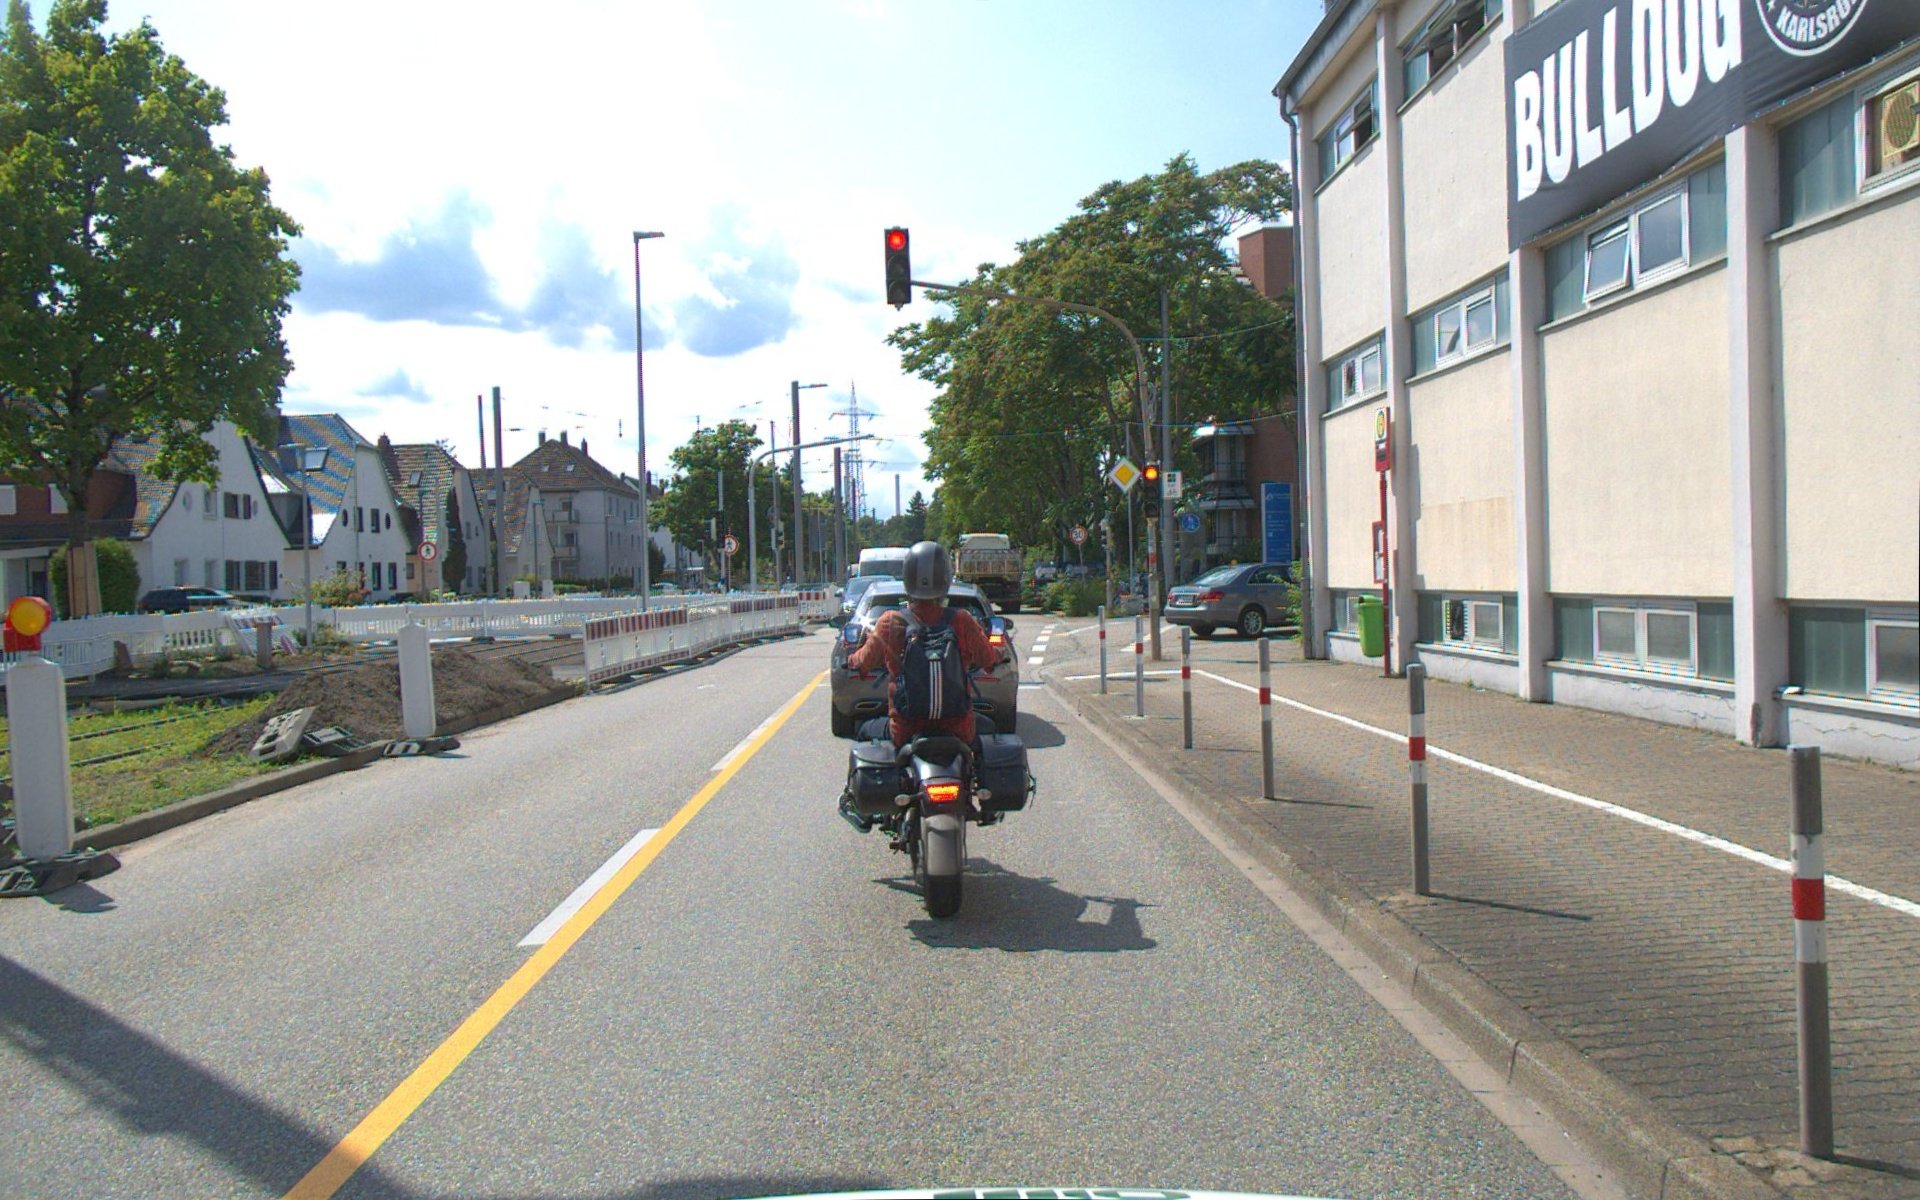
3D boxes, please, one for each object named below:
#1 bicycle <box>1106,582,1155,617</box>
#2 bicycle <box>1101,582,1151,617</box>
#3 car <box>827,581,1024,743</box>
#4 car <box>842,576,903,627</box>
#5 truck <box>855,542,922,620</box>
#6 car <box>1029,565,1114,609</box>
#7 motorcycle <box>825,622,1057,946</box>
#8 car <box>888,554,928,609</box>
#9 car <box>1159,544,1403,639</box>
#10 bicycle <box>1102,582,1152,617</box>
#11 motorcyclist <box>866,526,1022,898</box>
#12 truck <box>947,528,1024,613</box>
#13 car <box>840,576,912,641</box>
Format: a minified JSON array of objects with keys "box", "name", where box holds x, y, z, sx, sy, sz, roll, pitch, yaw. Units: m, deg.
[{"box":[5.849,-0.018,56.821,1.672,1.192,0.438,0,0,4],"name":"bicycle"},{"box":[5.631,-0.016,56.063,1.672,1.192,0.438,0,0,4],"name":"bicycle"},{"box":[-0.463,0.531,16.790,1.698,1.428,4.082,0,1,-5],"name":"car"},{"box":[-2.671,0.037,51.258,1.709,1.462,4.082,-3,0,-1],"name":"car"},{"box":[-2.482,-0.724,58.743,2.050,2.519,5.196,-3,2,0],"name":"truck"},{"box":[5.130,-0.582,75.666,1.772,1.959,3.973,0,0,44],"name":"car"},{"box":[-0.096,0.753,7.845,0.923,1.221,2.472,0,1,-1],"name":"motorcycle"},{"box":[-2.102,-0.753,67.849,1.556,2.180,3.626,0,0,0],"name":"car"},{"box":[6.667,-0.216,34.391,4.631,1.742,1.898,-3,2,-18],"name":"car"},{"box":[5.603,-0.014,55.562,1.672,1.192,0.438,0,0,4],"name":"bicycle"},{"box":[-0.076,0.491,7.613,0.684,1.632,0.692,0,0,-1],"name":"motorcyclist"},{"box":[1.080,-1.152,66.845,2.906,3.228,7.765,0,0,1],"name":"truck"},{"box":[-2.115,0.178,42.649,1.611,1.524,4.269,-1,1,0],"name":"car"}]
